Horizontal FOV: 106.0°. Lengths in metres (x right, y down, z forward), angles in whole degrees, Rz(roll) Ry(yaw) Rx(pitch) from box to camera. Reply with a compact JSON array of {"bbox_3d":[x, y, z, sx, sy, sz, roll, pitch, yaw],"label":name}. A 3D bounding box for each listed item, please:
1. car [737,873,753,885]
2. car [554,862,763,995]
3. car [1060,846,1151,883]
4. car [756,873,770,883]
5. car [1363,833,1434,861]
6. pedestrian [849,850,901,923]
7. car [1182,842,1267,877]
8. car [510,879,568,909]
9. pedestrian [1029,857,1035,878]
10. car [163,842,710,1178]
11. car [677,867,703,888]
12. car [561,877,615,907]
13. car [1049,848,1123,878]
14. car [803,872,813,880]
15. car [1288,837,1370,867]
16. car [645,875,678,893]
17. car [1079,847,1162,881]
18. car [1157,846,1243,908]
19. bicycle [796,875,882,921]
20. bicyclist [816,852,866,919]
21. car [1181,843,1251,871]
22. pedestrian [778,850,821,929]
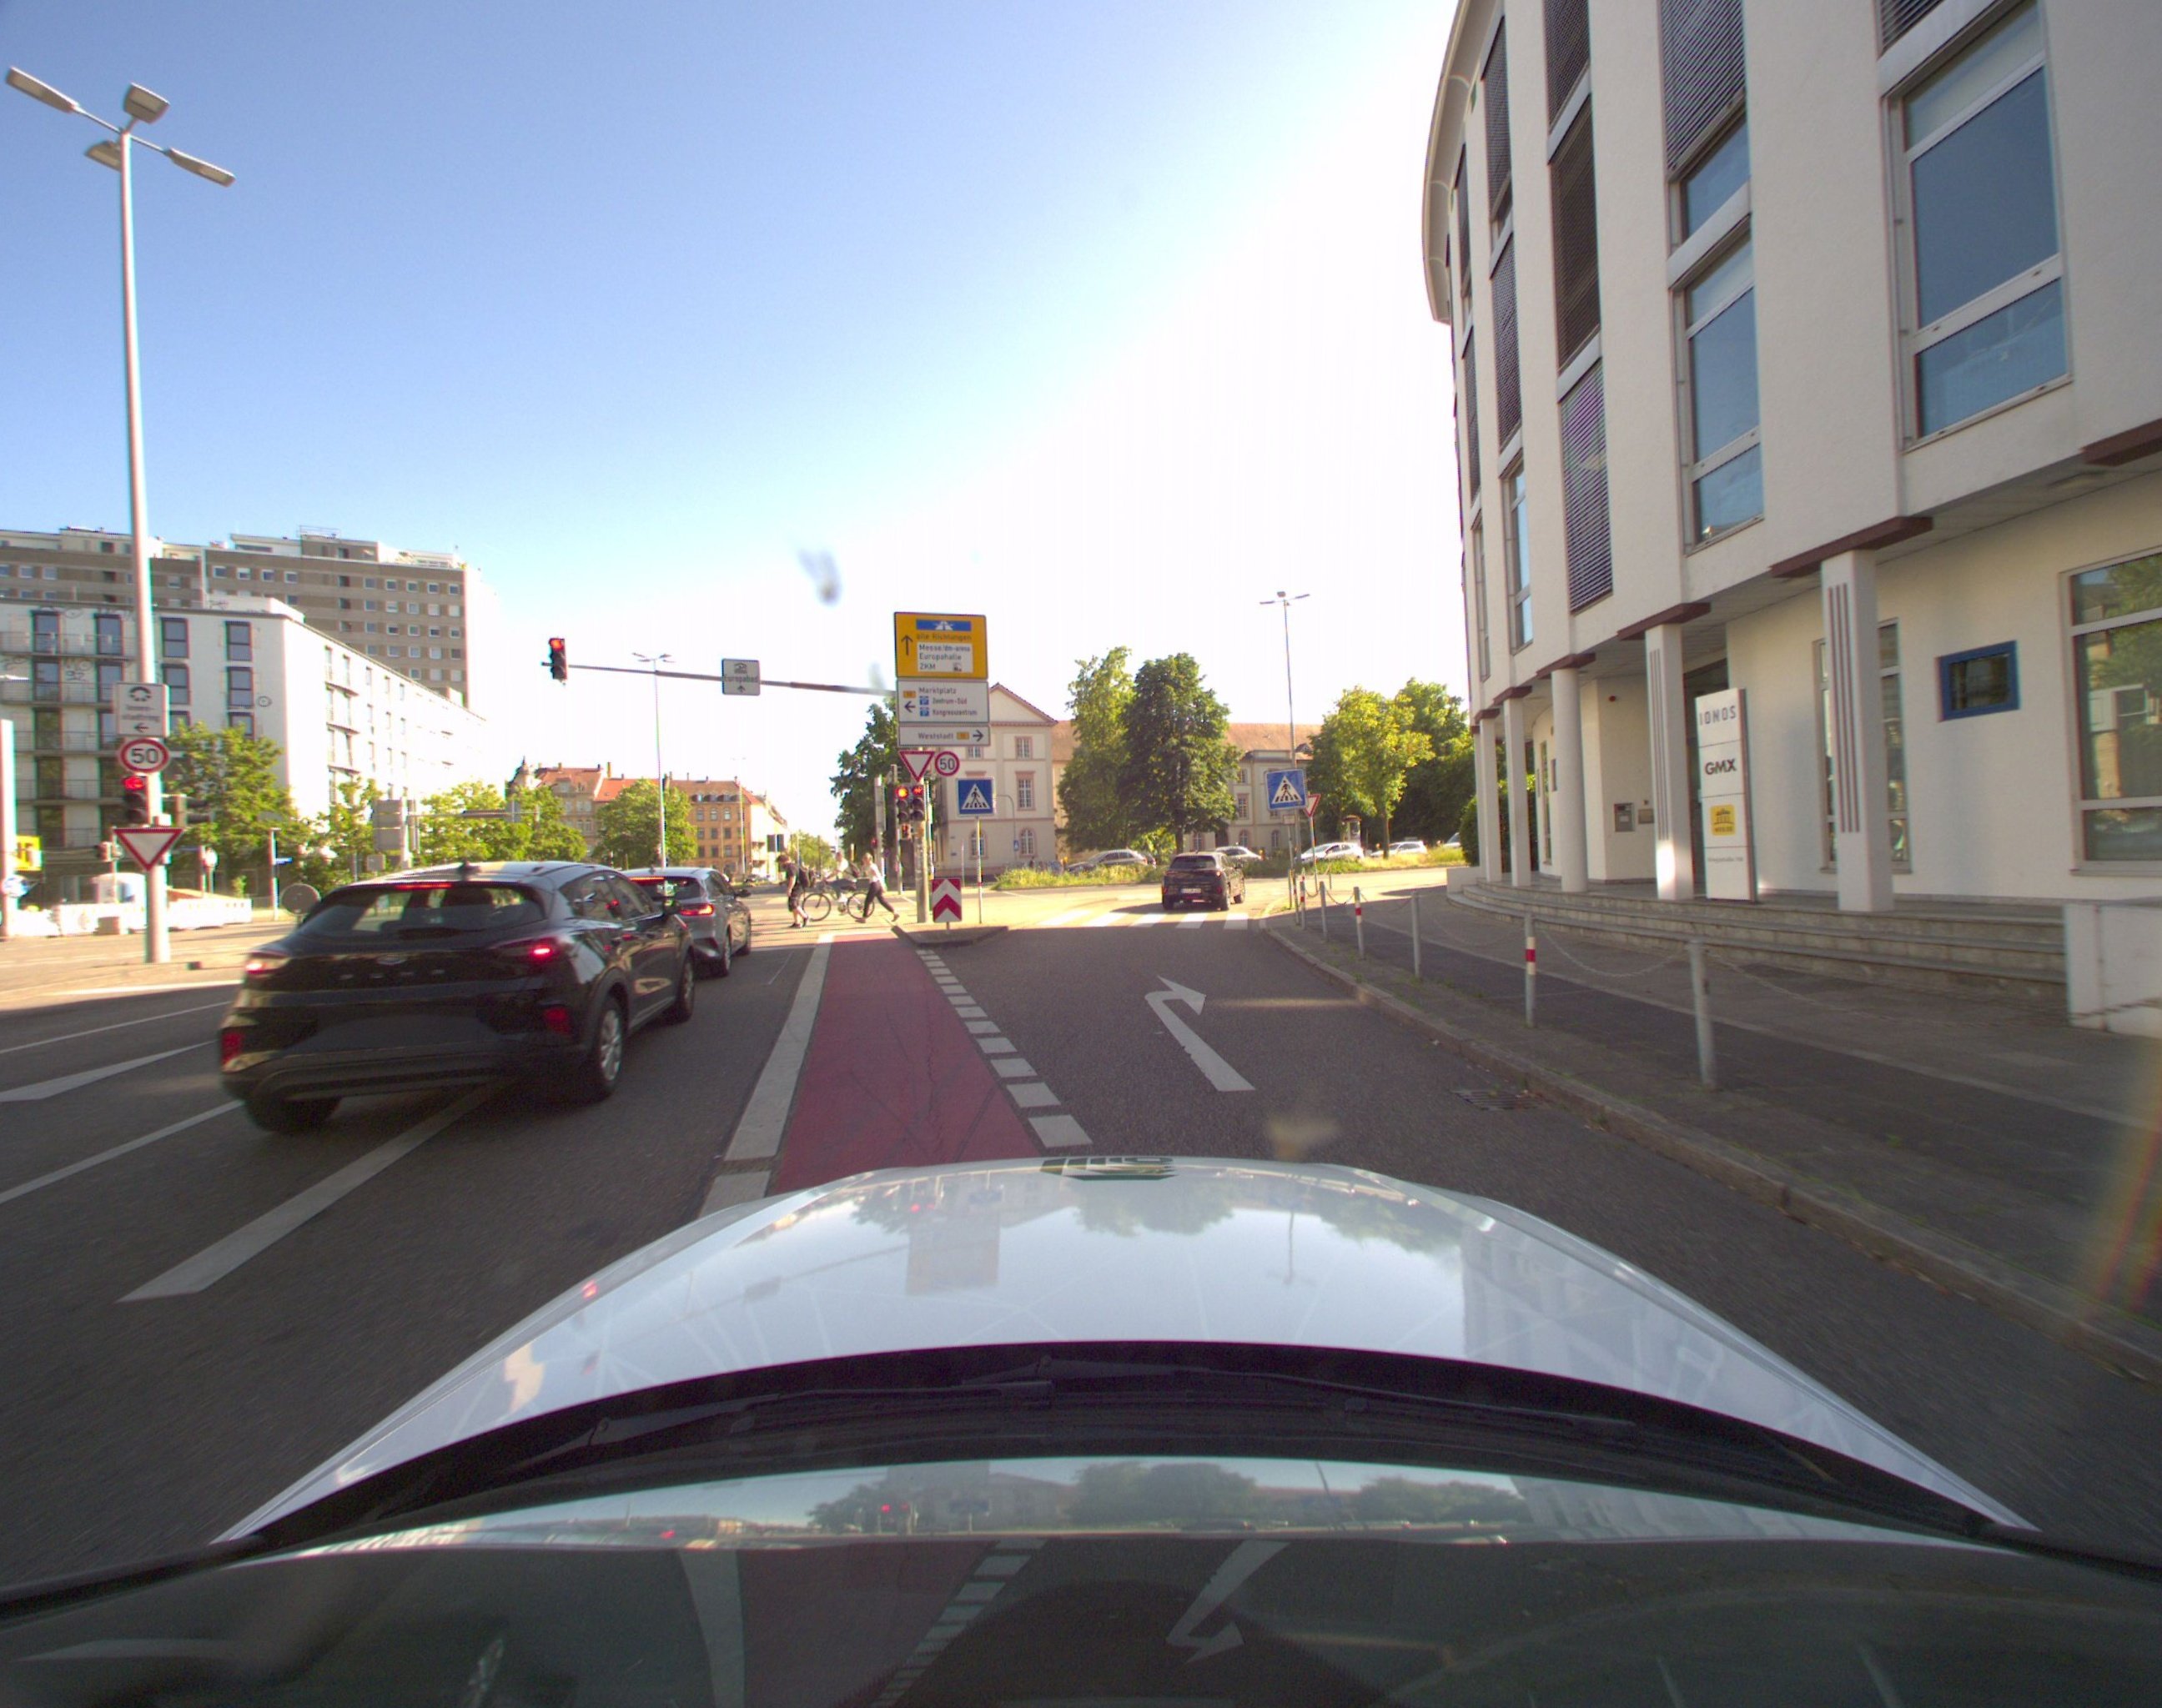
[{"bbox_3d":[-50.352,3.738,122.161,1.814,1.634,3.977,-2,0,-16],"label":"car"},{"bbox_3d":[-5.720,0.880,11.564,1.834,1.452,3.966,-2,0,-16],"label":"car"},{"bbox_3d":[1.212,0.493,40.315,4.132,1.601,1.808,-2,0,-23],"label":"car"},{"bbox_3d":[-53.622,4.053,137.540,1.814,1.634,3.977,-2,0,-16],"label":"car"},{"bbox_3d":[20.475,-0.449,52.480,4.002,1.644,1.910,-2,0,-21],"label":"car"},{"bbox_3d":[-4.945,0.764,19.487,1.045,1.660,0.778,-3,0,-22],"label":"pedestrian"},{"bbox_3d":[7.658,0.283,43.446,4.002,1.644,1.910,-2,0,-21],"label":"car"},{"bbox_3d":[-33.893,2.465,51.058,1.879,1.617,3.977,-2,0,-16],"label":"car"},{"bbox_3d":[-3.741,1.048,62.120,0.441,1.615,0.465,0,-2,-10],"label":"pedestrian"},{"bbox_3d":[-4.122,0.781,6.099,1.834,1.578,3.818,-2,0,-16],"label":"car"},{"bbox_3d":[-42.157,2.483,87.849,1.814,2.134,3.977,-2,0,-16],"label":"car"},{"bbox_3d":[-30.301,2.313,50.173,1.795,1.617,3.978,-2,0,-16],"label":"car"},{"bbox_3d":[0.289,0.540,50.269,4.132,1.601,1.808,-2,0,-23],"label":"car"},{"bbox_3d":[-51.823,4.201,154.470,1.816,1.448,3.974,-2,0,-19],"label":"car"},{"bbox_3d":[14.071,-0.101,46.203,4.192,1.508,1.808,-2,0,-23],"label":"car"},{"bbox_3d":[-38.098,2.686,73.964,1.879,1.448,3.977,-2,0,-16],"label":"car"},{"bbox_3d":[2.155,0.540,44.449,4.132,1.601,1.808,-2,0,-23],"label":"car"},{"bbox_3d":[3.397,0.594,22.723,1.731,1.573,3.575,-1,0,18],"label":"car"},{"bbox_3d":[-6.126,1.102,20.623,2.038,1.061,0.618,-1,0,-19],"label":"bicycle"},{"bbox_3d":[-6.095,0.784,20.646,1.168,1.633,0.724,-1,-1,-19],"label":"bicyclist"},{"bbox_3d":[8.749,0.200,52.810,4.132,1.601,1.808,-2,0,-23],"label":"car"},{"bbox_3d":[-6.328,0.778,18.265,0.829,1.702,0.911,-1,-1,-22],"label":"pedestrian"}]
